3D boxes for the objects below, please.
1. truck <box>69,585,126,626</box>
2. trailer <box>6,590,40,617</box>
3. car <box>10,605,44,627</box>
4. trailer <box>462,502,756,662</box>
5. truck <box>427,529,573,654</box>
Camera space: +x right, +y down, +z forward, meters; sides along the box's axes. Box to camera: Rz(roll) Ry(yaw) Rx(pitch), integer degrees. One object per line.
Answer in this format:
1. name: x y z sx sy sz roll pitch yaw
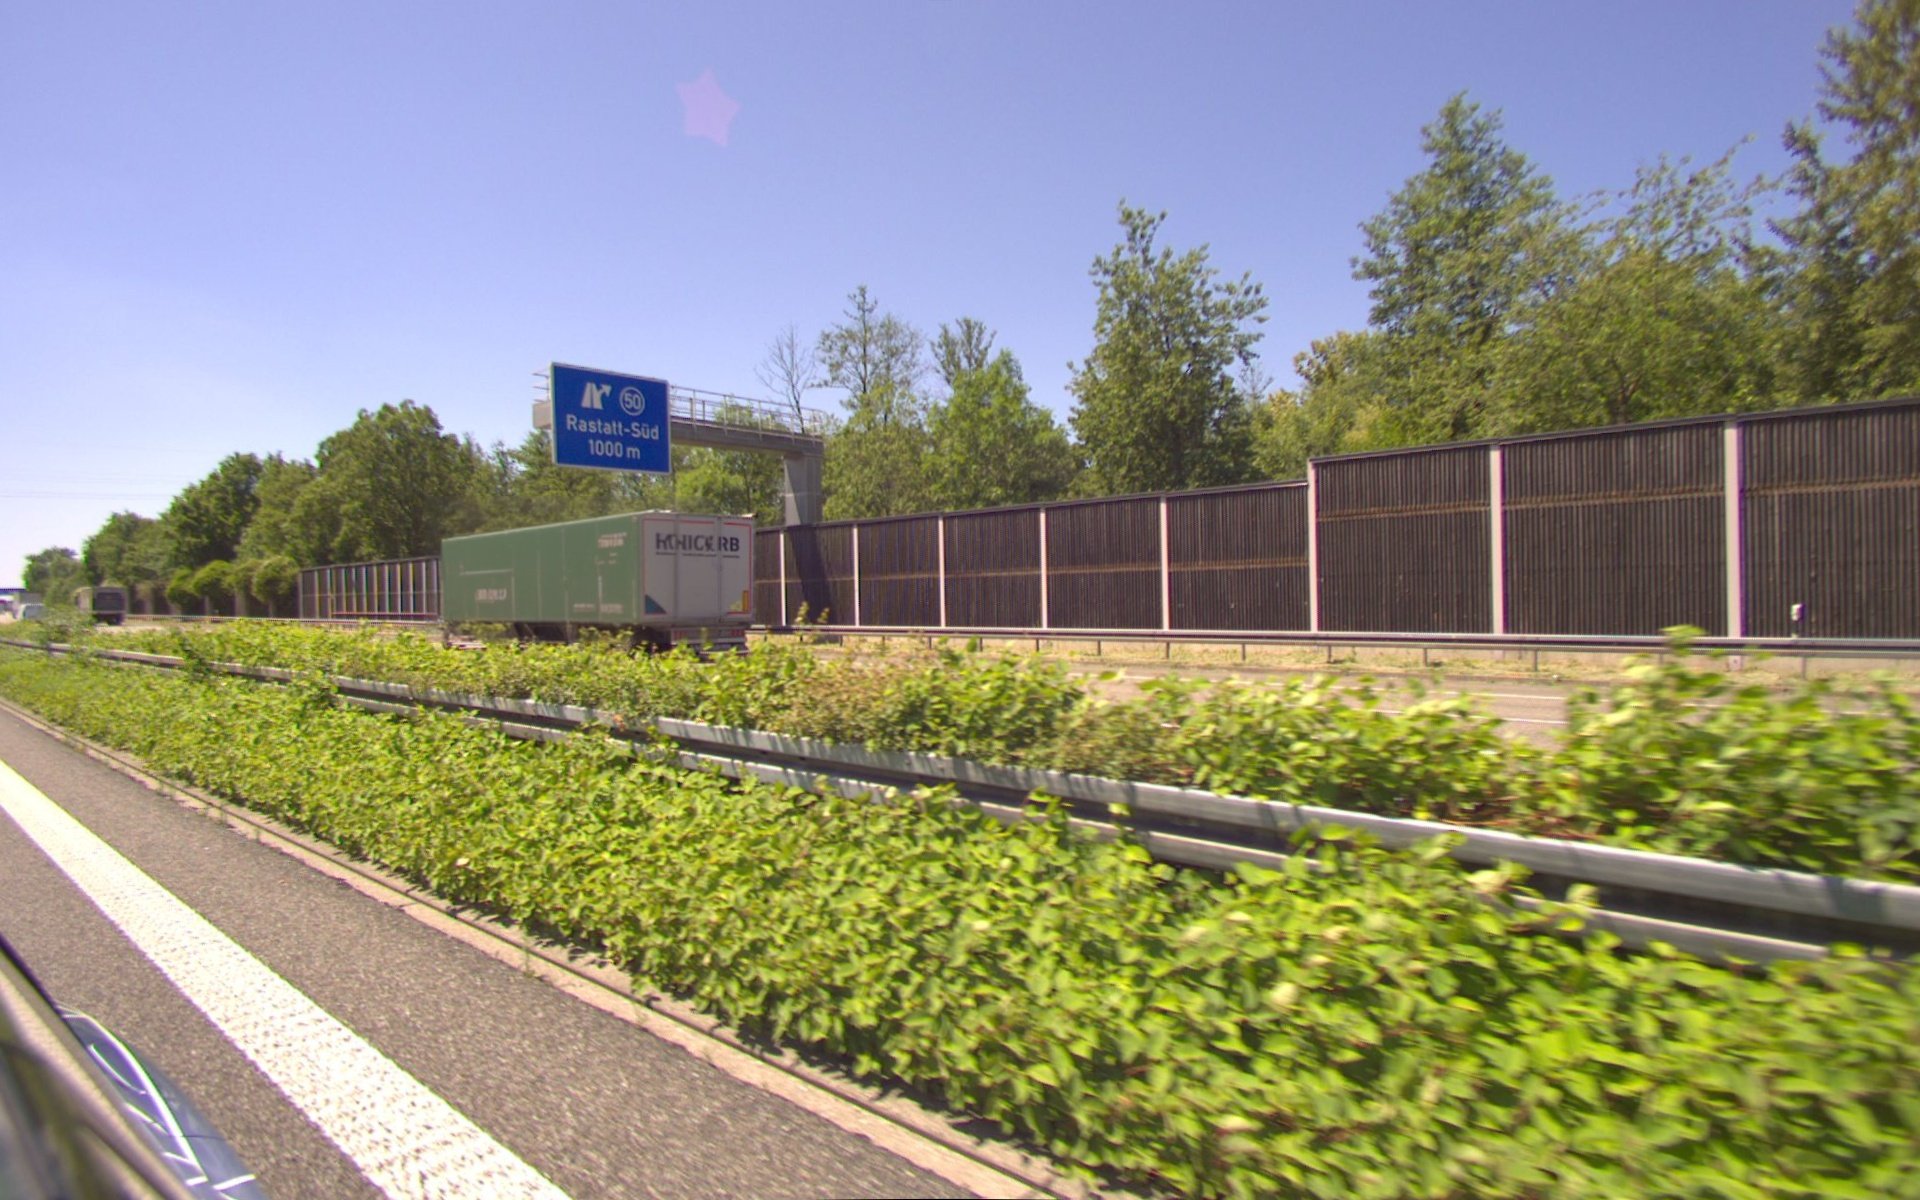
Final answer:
1. truck: -81.348 0.531 95.395 9.950 3.632 2.839 -1 0 42
2. trailer: -140.964 0.634 152.196 13.760 3.939 2.700 -1 -1 43
3. car: -86.373 1.456 93.678 5.102 2.029 1.972 -1 -1 43
4. trailer: -11.588 -0.381 31.842 13.649 4.167 2.458 -1 -1 42
5. truck: -16.638 -0.248 36.416 6.370 4.097 2.493 -1 -1 42
